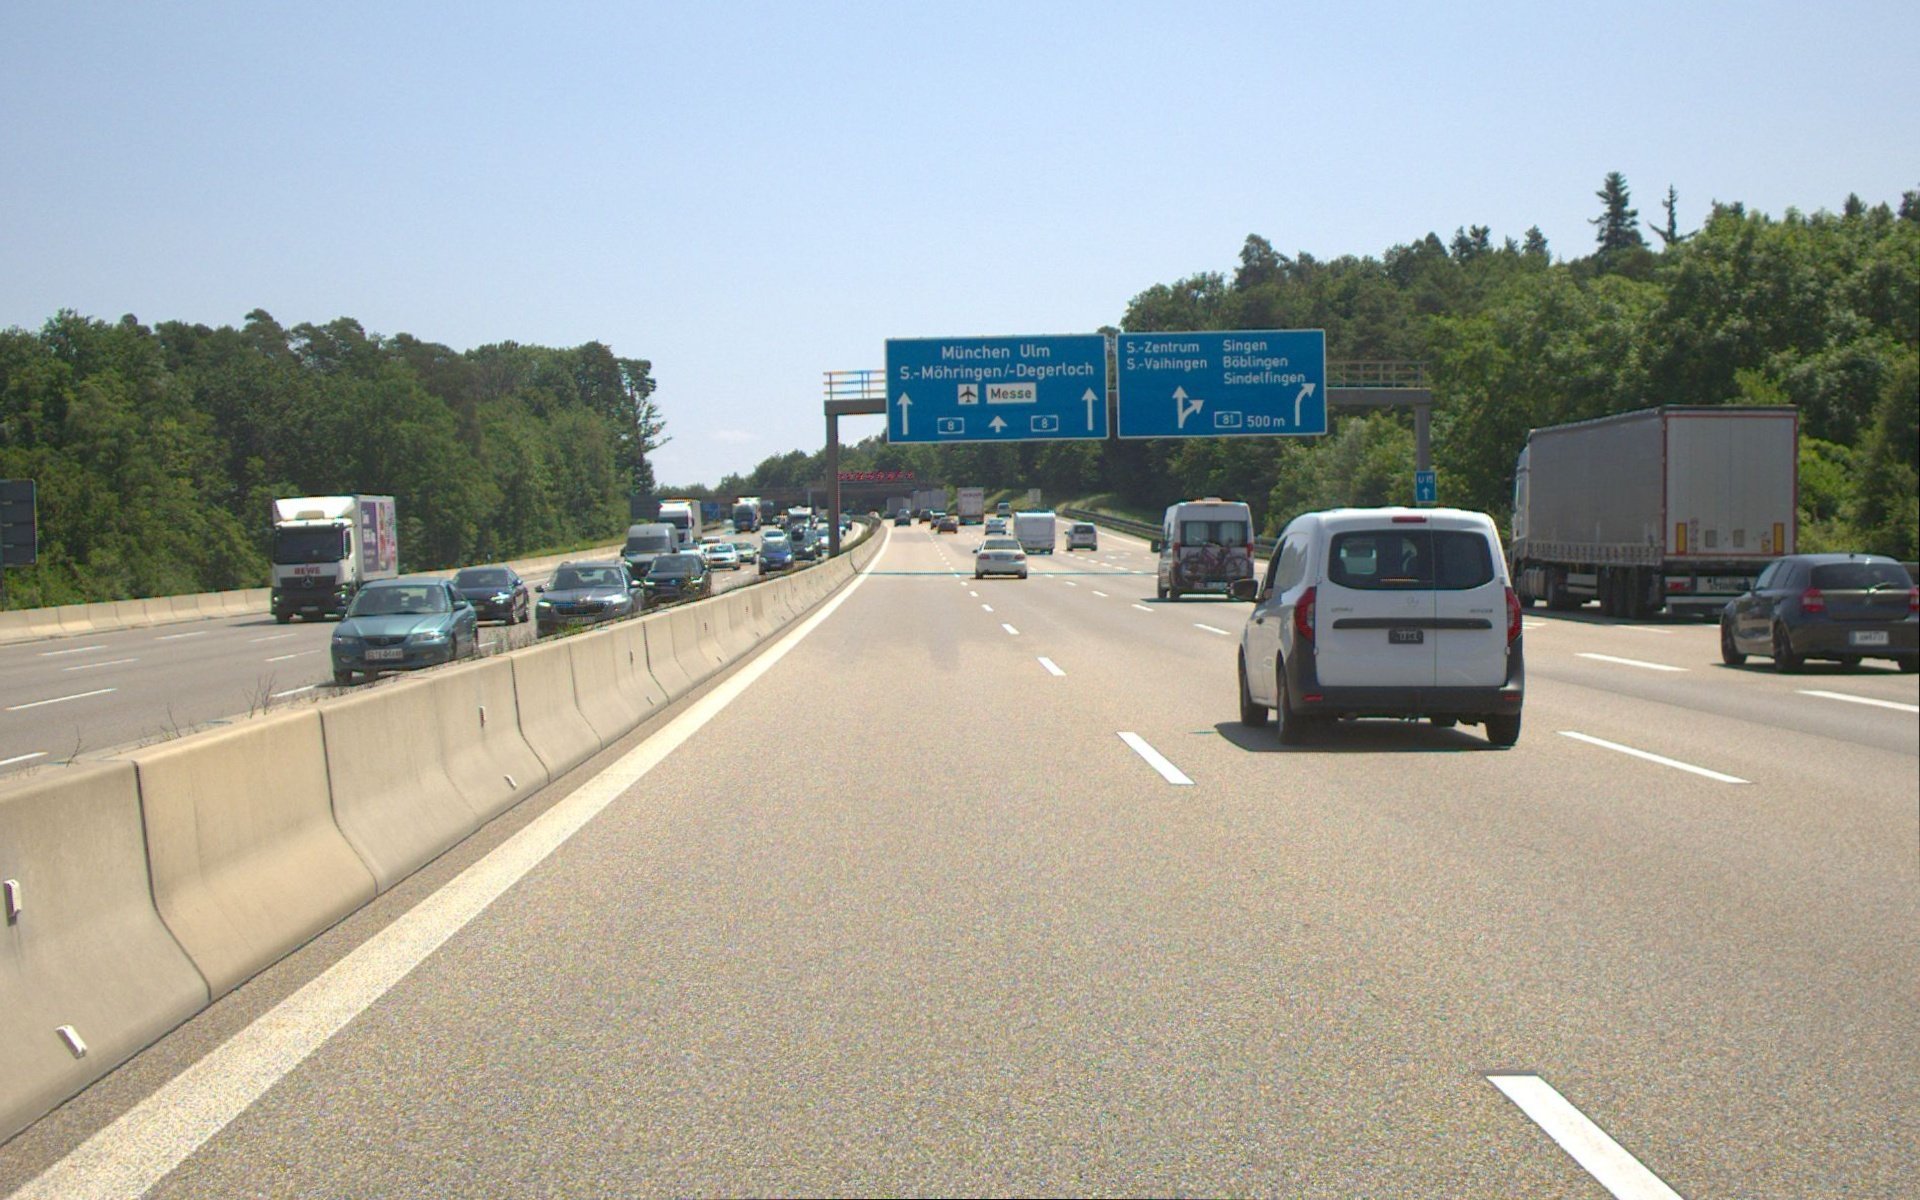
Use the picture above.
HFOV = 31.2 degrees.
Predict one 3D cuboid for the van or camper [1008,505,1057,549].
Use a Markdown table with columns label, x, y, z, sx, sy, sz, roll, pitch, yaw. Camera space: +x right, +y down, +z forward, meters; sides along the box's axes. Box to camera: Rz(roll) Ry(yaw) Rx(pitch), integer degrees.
| label | x | y | z | sx | sy | sz | roll | pitch | yaw |
| --- | --- | --- | --- | --- | --- | --- | --- | --- | --- |
| van or camper | 4.281 | -4.343 | 205.052 | 2.645 | 2.530 | 6.502 | -2 | 1 | -1 |

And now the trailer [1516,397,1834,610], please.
| label | x | y | z | sx | sy | sz | roll | pitch | yaw |
| --- | --- | --- | --- | --- | --- | --- | --- | --- | --- |
| trailer | 14.272 | -1.959 | 70.174 | 3.287 | 3.917 | 13.892 | 0 | 2 | -1 |

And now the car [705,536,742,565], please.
| label | x | y | z | sx | sy | sz | roll | pitch | yaw |
| --- | --- | --- | --- | --- | --- | --- | --- | --- | --- |
| car | -12.612 | -2.640 | 183.402 | 1.678 | 1.439 | 4.527 | -3 | 1 | -1 |

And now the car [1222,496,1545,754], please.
| label | x | y | z | sx | sy | sz | roll | pitch | yaw |
| --- | --- | --- | --- | --- | --- | --- | --- | --- | --- |
| car | 3.267 | 0.155 | 27.396 | 1.859 | 1.819 | 4.612 | -2 | 1 | -1 |

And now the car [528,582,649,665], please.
| label | x | y | z | sx | sy | sz | roll | pitch | yaw |
| --- | --- | --- | --- | --- | --- | --- | --- | --- | --- |
| car | -6.827 | 0.407 | 63.553 | 1.752 | 1.372 | 4.491 | -2 | 1 | -1 |

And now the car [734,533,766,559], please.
| label | x | y | z | sx | sy | sz | roll | pitch | yaw |
| --- | --- | --- | --- | --- | --- | --- | --- | --- | --- |
| car | -12.406 | -3.229 | 203.351 | 1.678 | 1.439 | 3.994 | -3 | 1 | -1 |

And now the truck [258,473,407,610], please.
| label | x | y | z | sx | sy | sz | roll | pitch | yaw |
| --- | --- | --- | --- | --- | --- | --- | --- | --- | --- |
| truck | -19.306 | -1.774 | 106.362 | 2.719 | 3.926 | 10.236 | -2 | 1 | -1 |

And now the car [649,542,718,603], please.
| label | x | y | z | sx | sy | sz | roll | pitch | yaw |
| --- | --- | --- | --- | --- | --- | --- | --- | --- | --- |
| car | -7.874 | -0.792 | 98.032 | 1.614 | 1.656 | 3.849 | -2 | 1 | 0 |

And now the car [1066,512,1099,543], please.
| label | x | y | z | sx | sy | sz | roll | pitch | yaw |
| --- | --- | --- | --- | --- | --- | --- | --- | --- | --- |
| car | 7.786 | -4.611 | 218.433 | 1.820 | 1.853 | 4.000 | -2 | 2 | -1 |

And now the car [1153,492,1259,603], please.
| label | x | y | z | sx | sy | sz | roll | pitch | yaw |
| --- | --- | --- | --- | --- | --- | --- | --- | --- | --- |
| car | 6.190 | -1.326 | 87.122 | 2.143 | 2.643 | 5.710 | -2 | 1 | -1 |

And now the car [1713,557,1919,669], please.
| label | x | y | z | sx | sy | sz | roll | pitch | yaw |
| --- | --- | --- | --- | --- | --- | --- | --- | --- | --- |
| car | 10.434 | 0.117 | 41.589 | 1.670 | 1.269 | 4.290 | 0 | 1 | -1 |

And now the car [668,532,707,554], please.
| label | x | y | z | sx | sy | sz | roll | pitch | yaw |
| --- | --- | --- | --- | --- | --- | --- | --- | --- | --- |
| car | -16.750 | -3.518 | 211.698 | 1.993 | 1.302 | 4.845 | -2 | 1 | 0 |

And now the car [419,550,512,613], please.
| label | x | y | z | sx | sy | sz | roll | pitch | yaw |
| --- | --- | --- | --- | --- | --- | --- | --- | --- | --- |
| car | -12.423 | -0.488 | 86.619 | 1.717 | 1.444 | 4.909 | -2 | 2 | -1 |

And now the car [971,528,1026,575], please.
| label | x | y | z | sx | sy | sz | roll | pitch | yaw |
| --- | --- | --- | --- | --- | --- | --- | --- | --- | --- |
| car | 1.401 | -1.747 | 125.637 | 1.843 | 1.623 | 4.553 | -2 | 1 | -1 |

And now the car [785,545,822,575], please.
| label | x | y | z | sx | sy | sz | roll | pitch | yaw |
| --- | --- | --- | --- | --- | --- | --- | --- | --- | --- |
| car | -9.079 | -2.346 | 199.812 | 1.870 | 1.600 | 5.228 | -2 | 1 | 0 |

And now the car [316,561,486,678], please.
| label | x | y | z | sx | sy | sz | roll | pitch | yaw |
| --- | --- | --- | --- | --- | --- | --- | --- | --- | --- |
| car | -7.990 | 0.246 | 49.456 | 1.717 | 1.507 | 4.351 | -2 | 1 | -1 |

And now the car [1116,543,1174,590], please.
| label | x | y | z | sx | sy | sz | roll | pitch | yaw |
| --- | --- | --- | --- | --- | --- | --- | --- | --- | --- |
| car | 6.755 | -1.223 | 125.736 | 1.818 | 1.634 | 4.000 | -2 | 1 | -1 |

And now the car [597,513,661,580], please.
| label | x | y | z | sx | sy | sz | roll | pitch | yaw |
| --- | --- | --- | --- | --- | --- | --- | --- | --- | --- |
| car | -13.554 | -2.249 | 141.300 | 1.930 | 2.598 | 7.231 | -2 | 2 | -1 |

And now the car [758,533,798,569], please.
| label | x | y | z | sx | sy | sz | roll | pitch | yaw |
| --- | --- | --- | --- | --- | --- | --- | --- | --- | --- |
| car | -8.639 | -2.329 | 163.420 | 1.705 | 1.656 | 3.760 | -1 | 1 | -1 |

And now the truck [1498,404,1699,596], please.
| label | x | y | z | sx | sy | sz | roll | pitch | yaw |
| --- | --- | --- | --- | --- | --- | --- | --- | --- | --- |
| truck | 14.116 | -2.226 | 76.521 | 3.254 | 4.092 | 5.988 | 0 | 1 | -1 |
